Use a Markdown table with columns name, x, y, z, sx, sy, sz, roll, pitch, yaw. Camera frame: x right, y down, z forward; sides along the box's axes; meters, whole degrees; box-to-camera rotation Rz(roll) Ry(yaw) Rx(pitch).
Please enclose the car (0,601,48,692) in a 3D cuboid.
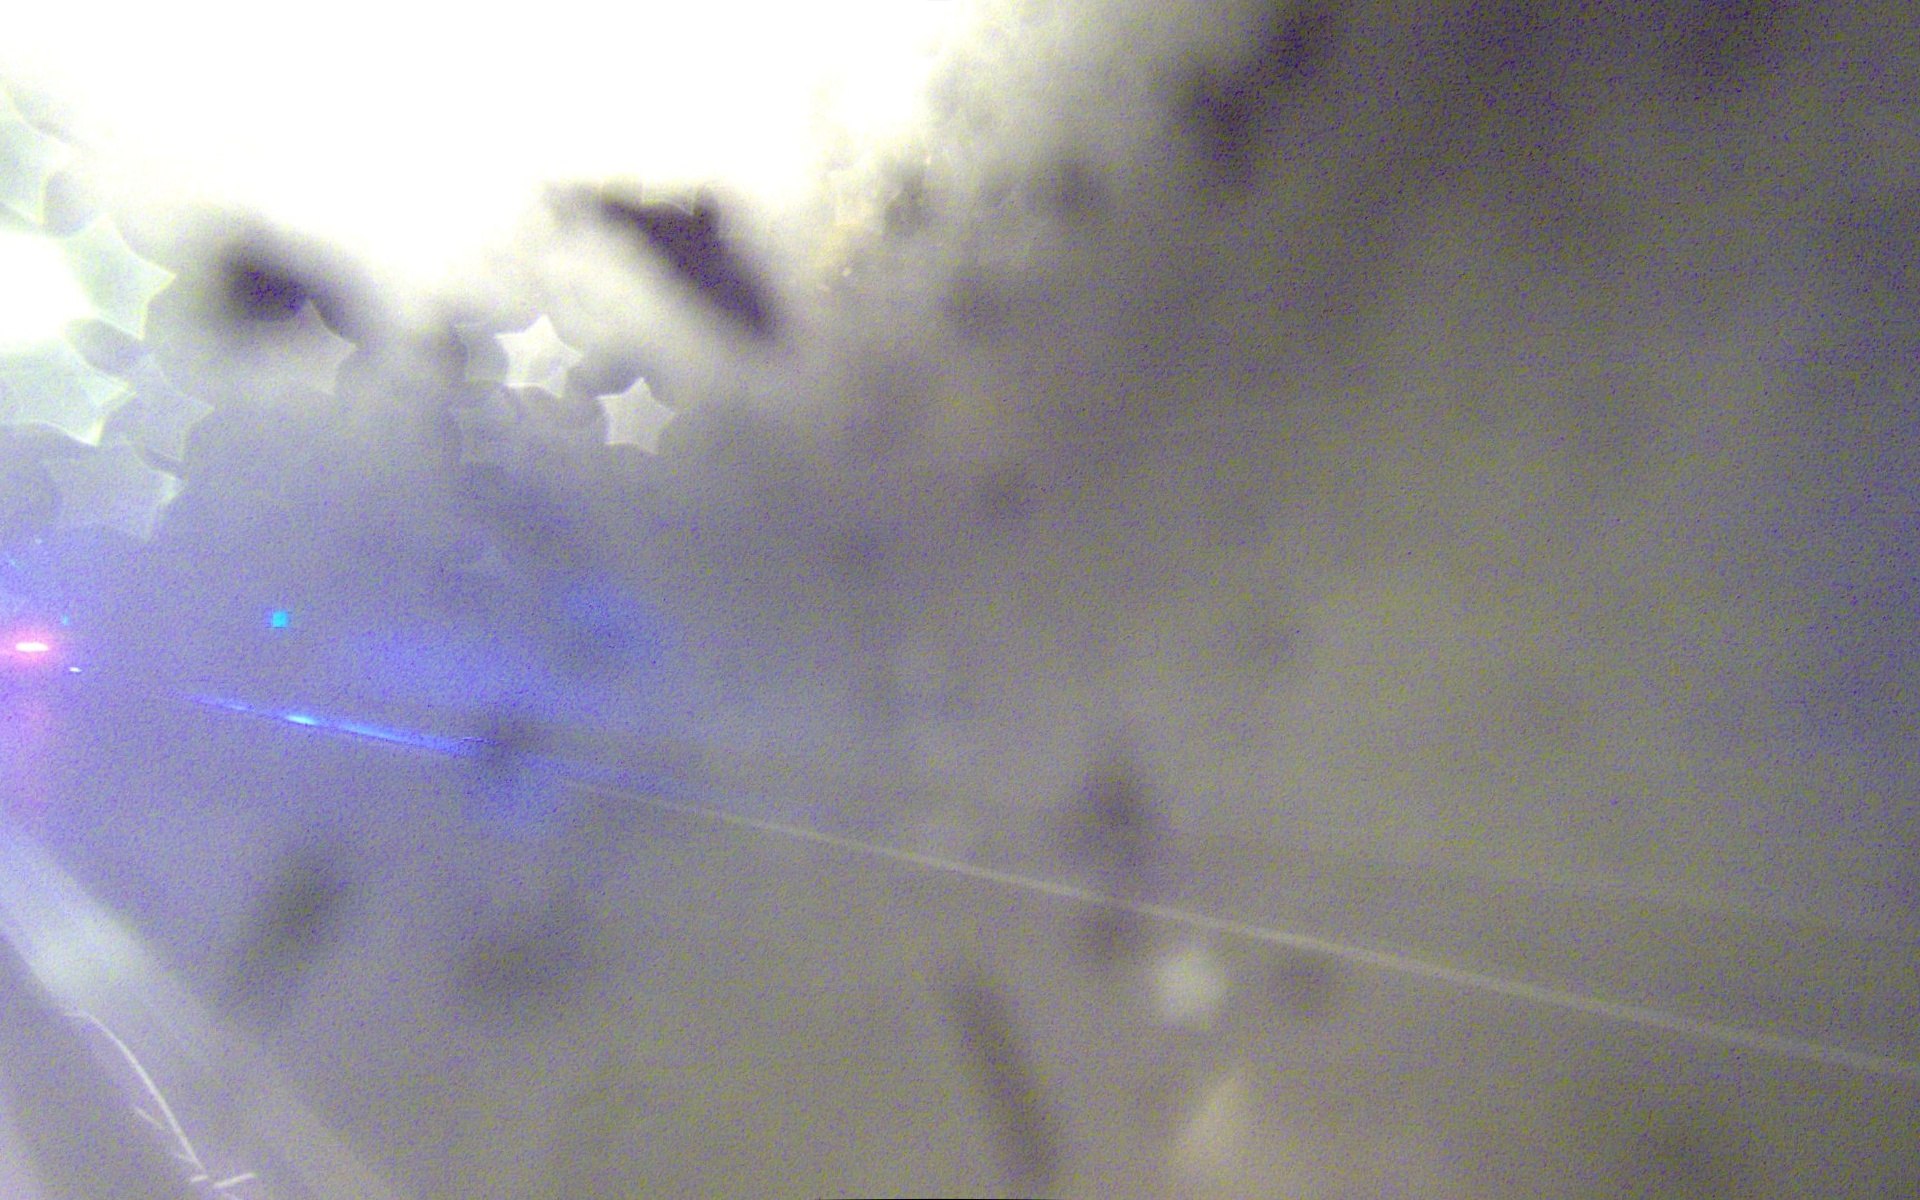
| name | x | y | z | sx | sy | sz | roll | pitch | yaw |
| --- | --- | --- | --- | --- | --- | --- | --- | --- | --- |
| car | -22.104 | 1.038 | 22.849 | 4.606 | 1.914 | 1.742 | -2 | -2 | 42 |
